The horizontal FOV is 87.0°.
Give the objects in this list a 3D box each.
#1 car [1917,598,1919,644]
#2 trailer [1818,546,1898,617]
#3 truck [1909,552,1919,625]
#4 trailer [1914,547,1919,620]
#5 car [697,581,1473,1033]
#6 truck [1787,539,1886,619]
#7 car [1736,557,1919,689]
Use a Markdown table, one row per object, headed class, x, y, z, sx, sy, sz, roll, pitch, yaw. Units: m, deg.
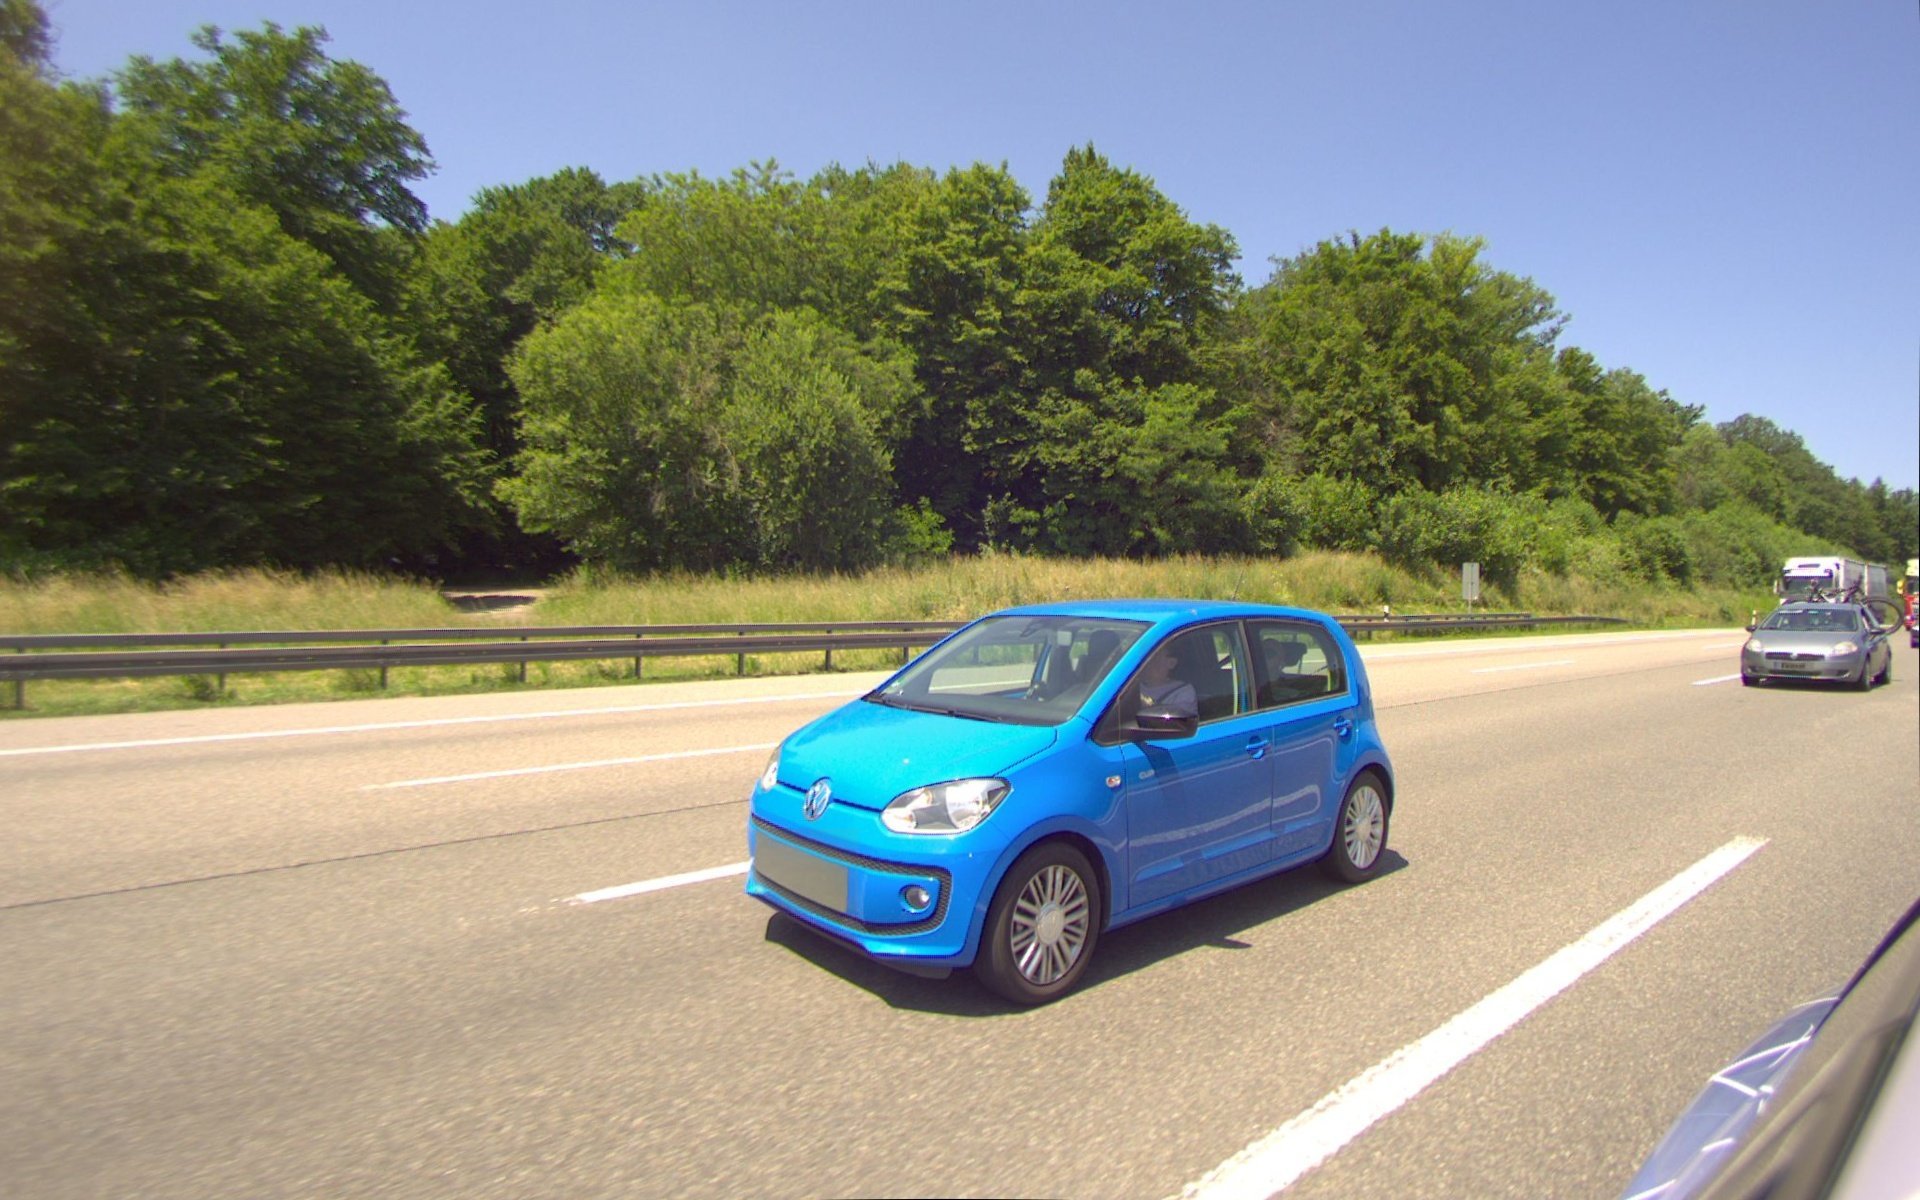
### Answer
| class | x | y | z | sx | sy | sz | roll | pitch | yaw |
| --- | --- | --- | --- | --- | --- | --- | --- | --- | --- |
| car | 33.680 | 0.707 | 33.679 | 5.129 | 1.471 | 1.971 | 1 | -1 | -39 |
| trailer | 55.800 | -1.039 | 62.825 | 8.234 | 4.122 | 2.583 | 1 | -1 | -41 |
| truck | 56.744 | -0.576 | 57.746 | 7.406 | 4.032 | 3.016 | 2 | -1 | -41 |
| trailer | 61.644 | -0.742 | 62.102 | 14.585 | 4.195 | 2.925 | 2 | 0 | -41 |
| car | 0.872 | 0.649 | 5.163 | 3.929 | 1.429 | 1.741 | 0 | 1 | -40 |
| truck | 50.551 | -1.050 | 58.209 | 10.775 | 4.214 | 2.727 | 1 | -1 | -41 |
| car | 15.680 | 0.369 | 18.165 | 4.702 | 2.080 | 1.964 | 0 | -1 | -42 |
